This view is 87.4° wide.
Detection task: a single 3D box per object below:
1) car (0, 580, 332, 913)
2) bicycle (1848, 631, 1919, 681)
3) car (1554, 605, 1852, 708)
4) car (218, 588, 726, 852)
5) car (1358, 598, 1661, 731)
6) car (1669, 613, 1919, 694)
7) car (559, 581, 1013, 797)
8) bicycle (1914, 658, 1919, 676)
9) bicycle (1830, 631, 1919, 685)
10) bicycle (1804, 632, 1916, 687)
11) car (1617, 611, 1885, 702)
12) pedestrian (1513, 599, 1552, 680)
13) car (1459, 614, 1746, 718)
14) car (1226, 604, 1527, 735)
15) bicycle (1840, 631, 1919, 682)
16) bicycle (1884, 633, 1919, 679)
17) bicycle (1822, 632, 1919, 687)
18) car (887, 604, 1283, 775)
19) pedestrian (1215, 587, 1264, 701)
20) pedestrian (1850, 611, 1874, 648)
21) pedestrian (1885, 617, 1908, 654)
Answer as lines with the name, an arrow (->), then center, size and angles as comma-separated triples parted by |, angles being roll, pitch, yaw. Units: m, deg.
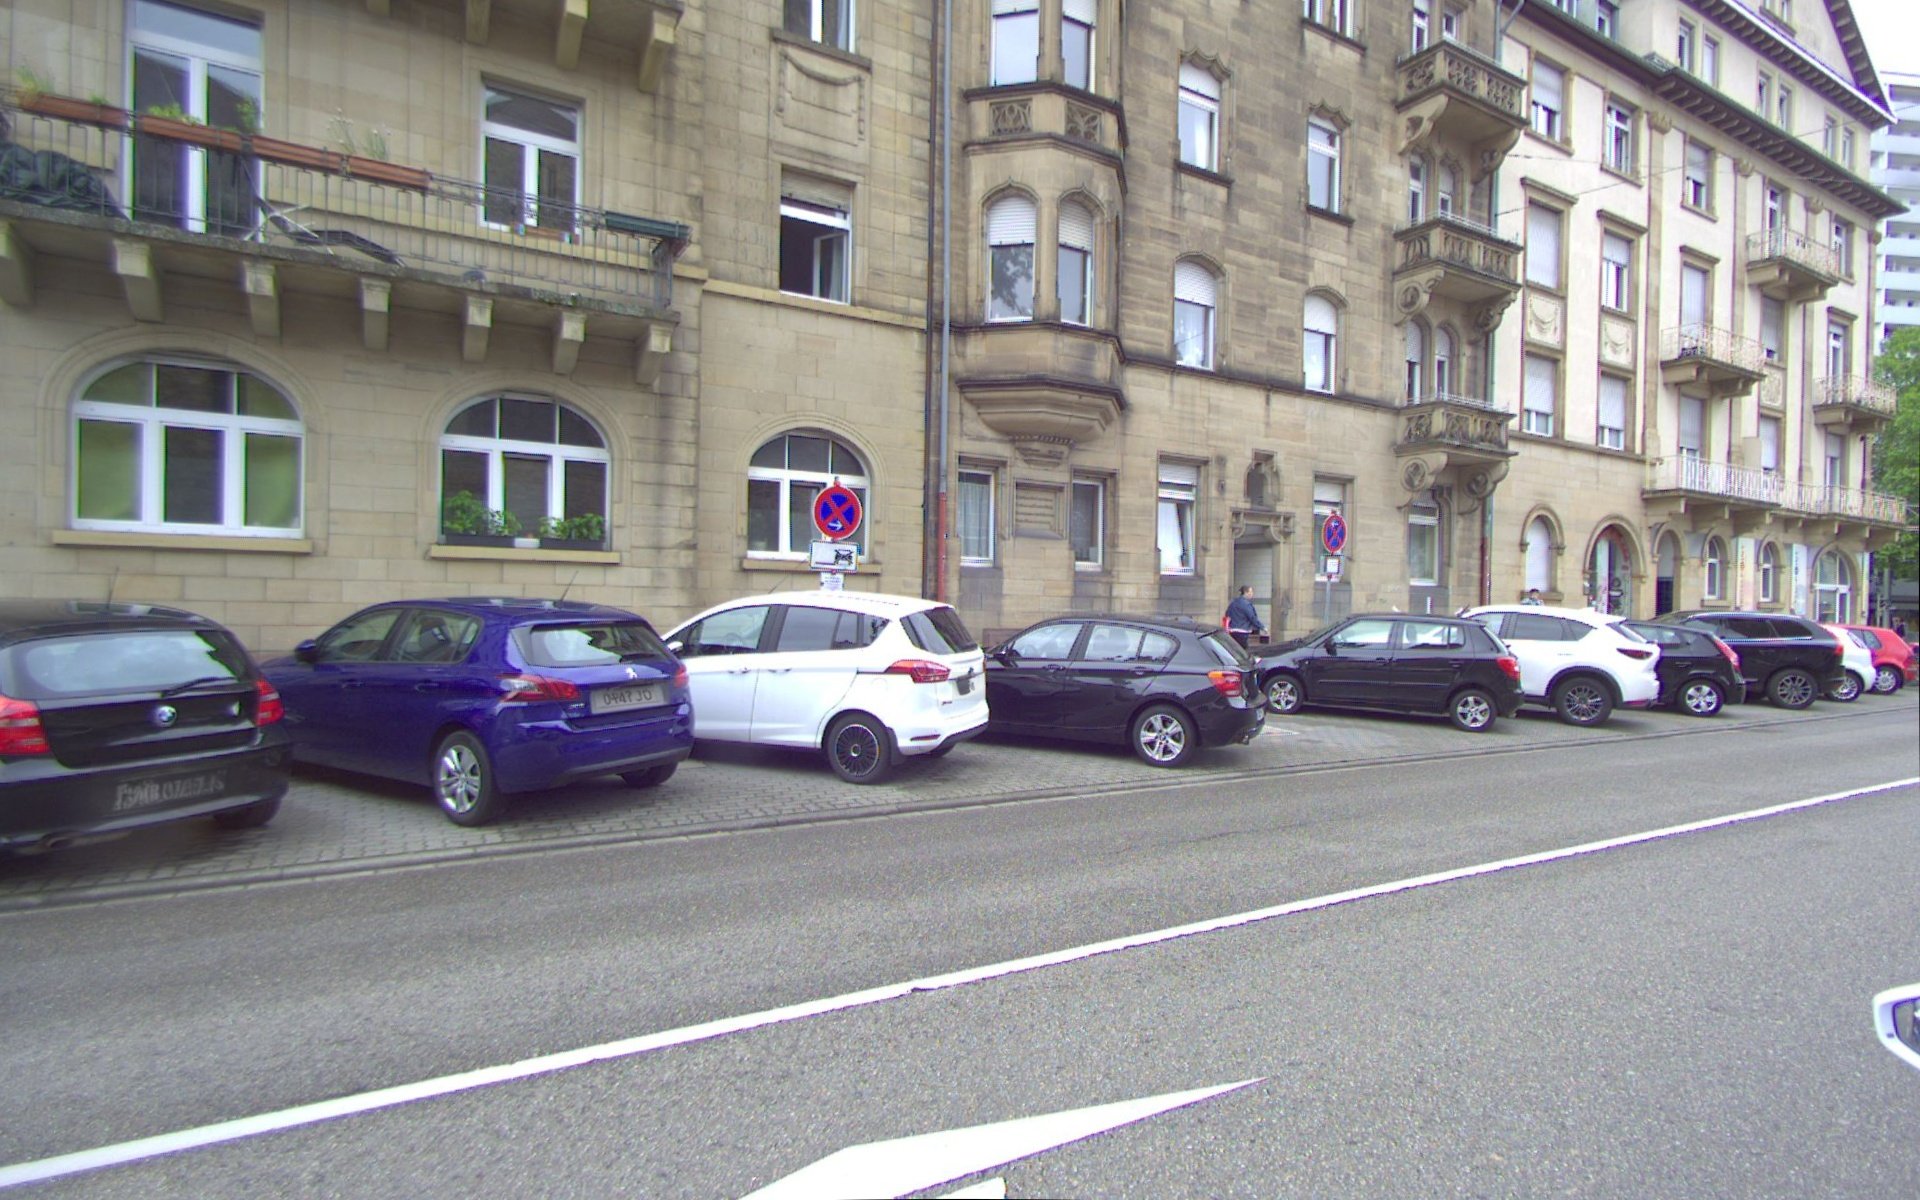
car -> -5.992, 0.671, 6.327 | 3.927, 1.457, 1.730 | 3, 2, 28
bicycle -> 23.576, 1.426, 25.151 | 0.437, 1.050, 1.876 | 0, 6, -31
car -> 13.851, 0.998, 19.016 | 4.141, 1.674, 1.732 | 2, 0, 18
car -> -3.856, 0.719, 7.855 | 3.682, 1.465, 1.820 | 3, 2, 30
car -> 8.536, 0.900, 15.707 | 3.935, 1.746, 1.835 | 2, 0, 36
car -> 18.305, 1.139, 22.184 | 3.919, 1.492, 1.684 | 2, 2, 12
car -> -1.650, 0.687, 9.566 | 3.922, 1.575, 1.702 | 3, 2, 22
bicycle -> 25.349, 1.796, 25.173 | 1.017, 0.451, 1.876 | -1, 6, -31
bicycle -> 22.499, 1.405, 24.449 | 0.437, 1.050, 1.876 | 0, 6, -31
bicycle -> 21.313, 1.395, 23.834 | 0.436, 1.050, 1.879 | 1, 4, -26
car -> 16.009, 1.101, 20.566 | 3.920, 1.492, 1.564 | 3, 3, 18
pedestrian -> 13.031, 0.892, 22.879 | 0.544, 1.809, 0.564 | 1, 0, -29
car -> 10.933, 1.071, 17.453 | 3.923, 1.514, 1.731 | 2, 0, 23
car -> 5.856, 0.907, 14.418 | 3.738, 1.517, 1.569 | 3, 1, 22
bicycle -> 23.054, 1.396, 24.799 | 0.437, 1.050, 1.876 | 0, 6, -31
bicycle -> 24.312, 1.475, 24.935 | 0.437, 1.050, 1.876 | 0, 6, -31
bicycle -> 22.050, 1.412, 24.167 | 0.437, 1.050, 1.876 | 0, 6, -31
car -> 1.344, 0.845, 10.917 | 3.924, 1.436, 1.660 | 2, 1, 25
pedestrian -> 4.977, 0.769, 17.915 | 0.544, 1.984, 0.616 | 1, 0, -29
pedestrian -> 44.835, 1.449, 49.917 | 0.718, 1.795, 0.671 | 1, 0, -30
pedestrian -> 46.025, 1.759, 49.367 | 0.718, 1.795, 0.671 | 1, 0, -30
